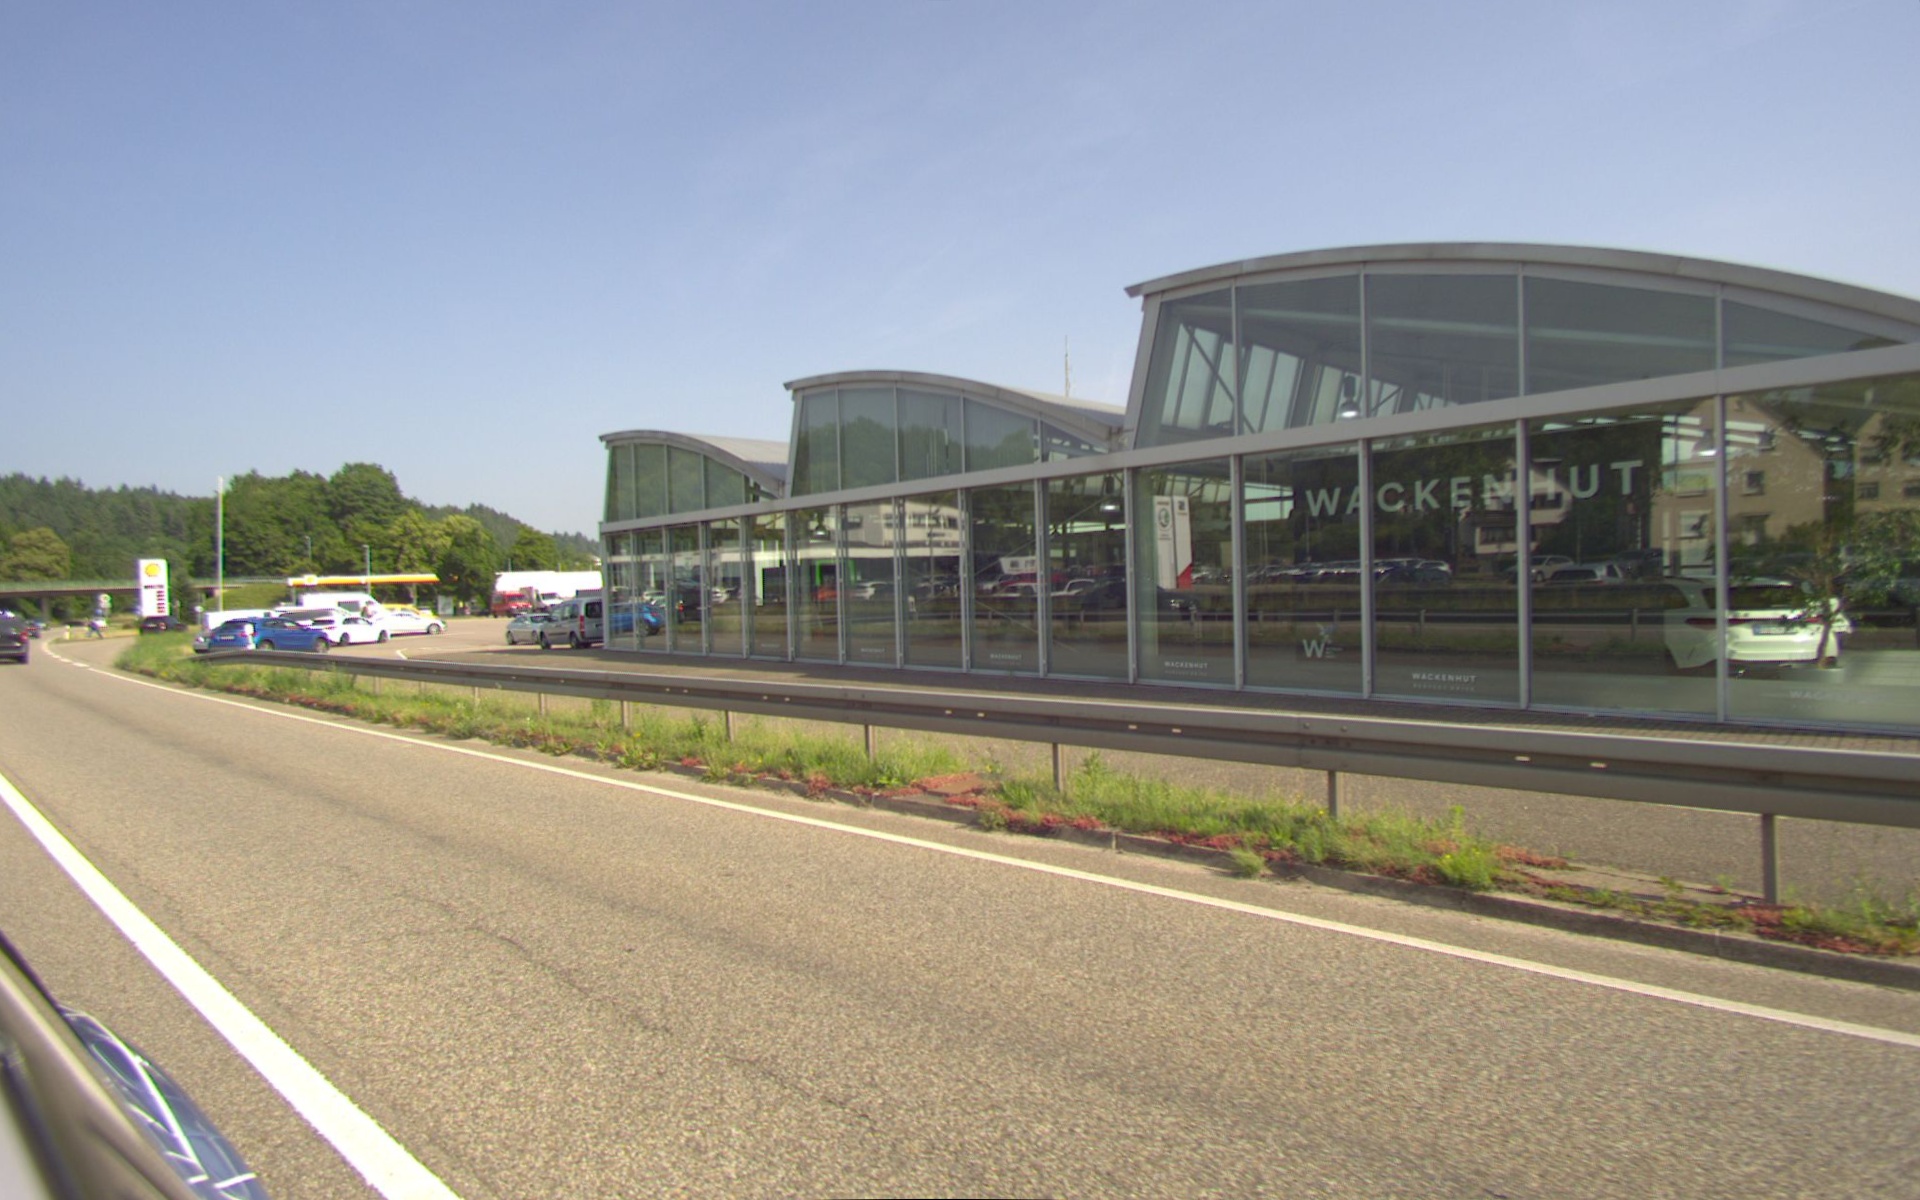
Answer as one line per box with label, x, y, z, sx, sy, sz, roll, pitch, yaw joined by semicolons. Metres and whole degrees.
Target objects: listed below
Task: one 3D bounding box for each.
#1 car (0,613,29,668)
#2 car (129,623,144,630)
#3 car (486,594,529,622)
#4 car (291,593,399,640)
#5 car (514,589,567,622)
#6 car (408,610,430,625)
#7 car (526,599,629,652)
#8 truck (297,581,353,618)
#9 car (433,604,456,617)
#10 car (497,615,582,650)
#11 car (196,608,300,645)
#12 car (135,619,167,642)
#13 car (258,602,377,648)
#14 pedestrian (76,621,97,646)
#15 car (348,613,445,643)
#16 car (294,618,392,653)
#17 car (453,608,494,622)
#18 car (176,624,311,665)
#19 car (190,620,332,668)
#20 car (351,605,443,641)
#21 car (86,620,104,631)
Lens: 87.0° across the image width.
car;-35.323;1.452;36.895;1.892;1.899;4.914;1;-1;-44
car;-143.335;4.522;176.243;1.779;1.181;4.110;0;-1;-36
car;-40.899;0.771;91.449;1.858;2.404;5.227;-1;0;-44
car;-40.891;1.039;67.401;5.654;2.765;2.287;-4;2;-44
car;-39.091;0.512;94.244;2.367;2.877;6.533;-1;0;-44
car;-56.844;1.843;106.321;1.692;1.578;4.671;-1;0;-32
car;-13.577;0.920;35.833;1.784;1.726;4.411;-2;-1;-44
truck;-77.424;-0.038;123.761;3.010;4.165;16.828;-1;0;-22
car;-68.158;1.387;133.782;1.878;1.654;4.012;-2;1;-15
car;-18.748;1.449;45.042;1.784;1.397;4.834;-2;-1;-45
car;-41.785;1.518;59.463;2.145;1.871;4.619;-2;1;45
car;-60.728;2.302;76.011;1.788;1.642;4.549;1;-4;-39
car;-33.308;1.258;52.540;2.230;1.996;4.738;-2;2;45
pedestrian;-63.048;2.421;73.064;0.835;1.702;1.148;-1;0;-25
car;-31.929;1.579;57.403;1.967;1.409;4.415;-1;2;45
car;-29.556;1.653;48.656;1.874;1.413;4.225;-1;1;5
car;-58.250;1.780;121.198;1.713;1.578;4.275;-2;0;29
car;-27.460;1.669;38.981;1.830;1.378;4.388;-1;0;5
car;-24.880;1.532;36.241;1.960;1.518;4.226;-1;0;5
car;-33.223;1.322;59.791;2.002;1.821;4.332;-2;2;45
car;-118.651;3.462;138.875;1.656;1.484;3.714;0;-1;-38
